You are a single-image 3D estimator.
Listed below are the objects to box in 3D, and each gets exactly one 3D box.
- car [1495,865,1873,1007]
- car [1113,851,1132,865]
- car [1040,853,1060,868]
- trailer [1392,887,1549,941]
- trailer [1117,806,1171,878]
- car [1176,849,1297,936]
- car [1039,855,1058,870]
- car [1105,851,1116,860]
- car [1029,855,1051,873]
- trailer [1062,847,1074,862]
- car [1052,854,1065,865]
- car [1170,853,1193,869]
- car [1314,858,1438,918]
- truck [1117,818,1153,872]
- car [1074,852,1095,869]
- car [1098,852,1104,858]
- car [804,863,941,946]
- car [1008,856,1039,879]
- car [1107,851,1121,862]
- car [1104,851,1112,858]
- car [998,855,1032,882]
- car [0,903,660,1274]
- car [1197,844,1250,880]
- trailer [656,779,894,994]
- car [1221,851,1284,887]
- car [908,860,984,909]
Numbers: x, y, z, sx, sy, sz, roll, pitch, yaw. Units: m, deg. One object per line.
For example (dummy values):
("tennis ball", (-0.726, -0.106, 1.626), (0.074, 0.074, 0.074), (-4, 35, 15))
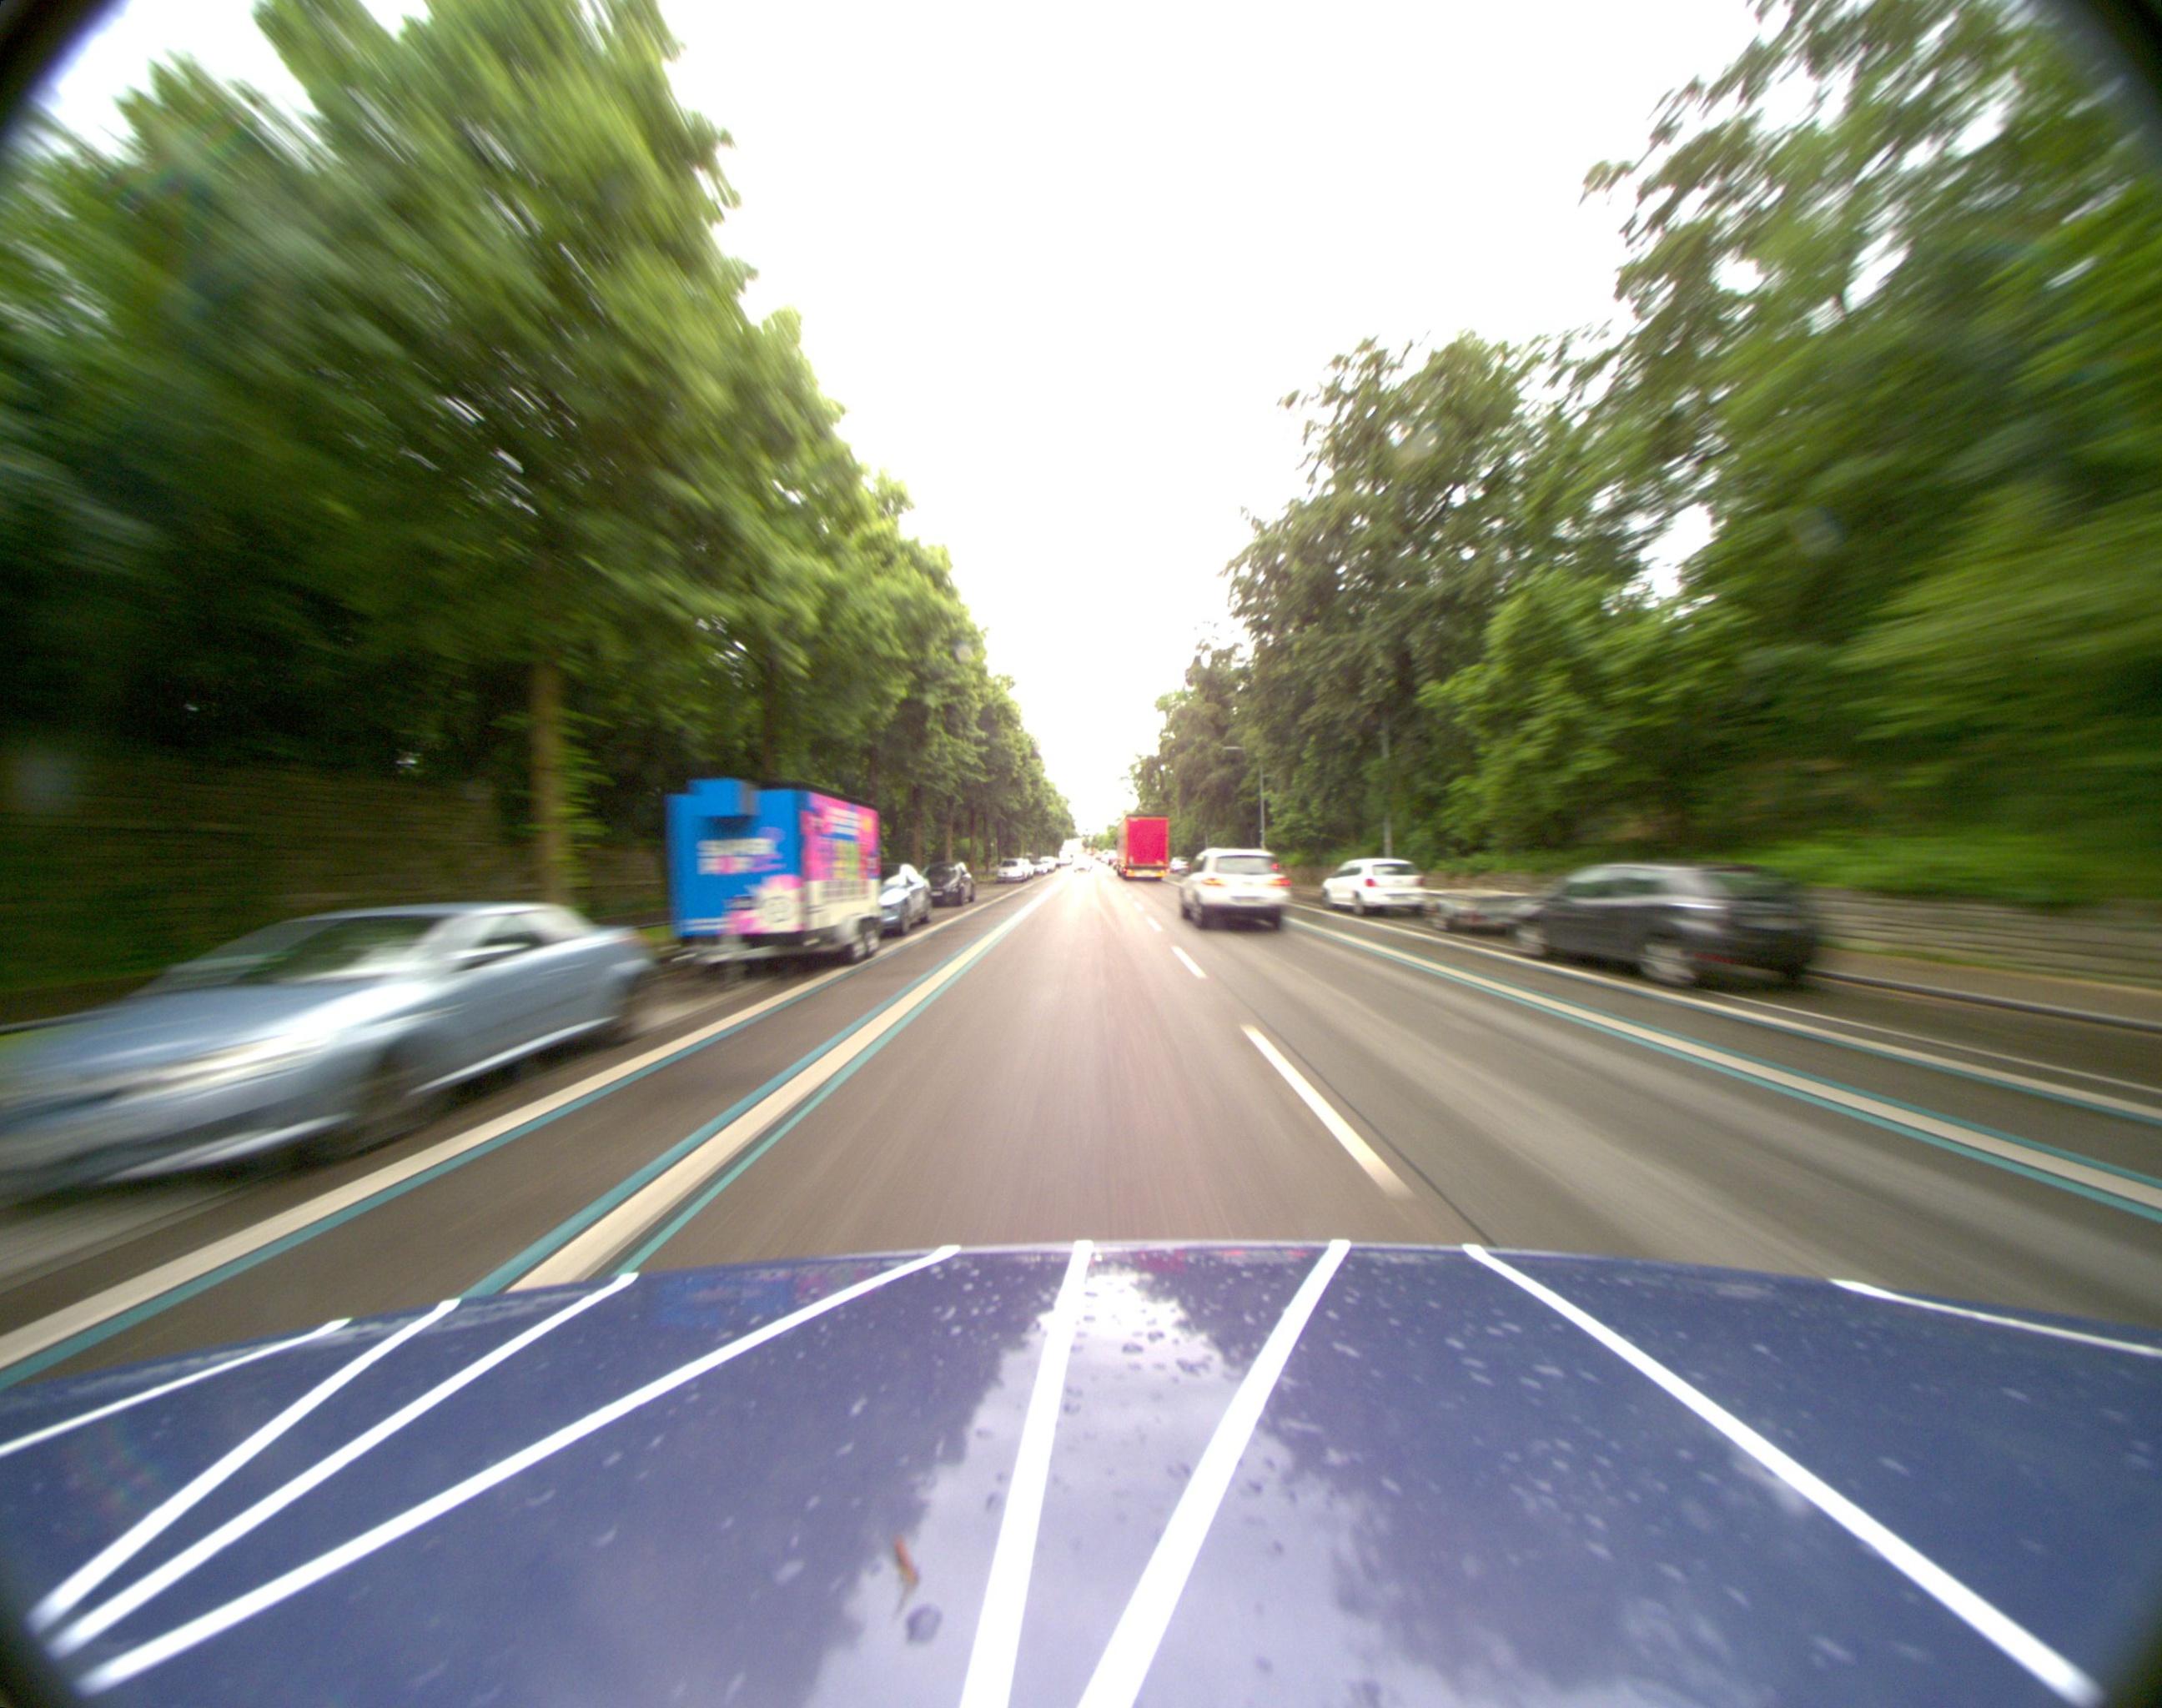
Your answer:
("car", (7.678, 0.917, 10.294), (1.836, 1.468, 4.040), (-1, 0, -2))
("car", (4.667, 0.434, 85.846), (1.920, 1.448, 4.620), (1, 0, 1))
("car", (-3.479, 0.718, 86.152), (1.998, 1.652, 4.562), (-2, 0, 0))
("trailer", (7.903, 1.189, 15.754), (1.547, 0.814, 3.304), (-1, 0, 0))
("trailer", (4.032, -0.744, 51.679), (2.694, 4.234, 12.768), (1, 0, 1))
("car", (3.297, 0.745, 16.923), (1.838, 1.657, 4.180), (1, 0, 1))
("car", (-3.422, 0.898, 79.450), (1.702, 1.445, 3.946), (-3, 0, 1))
("car", (5.263, 0.295, 134.871), (1.780, 1.457, 4.063), (1, 0, 1))
("car", (-3.706, 0.900, 69.135), (1.702, 1.445, 4.097), (-3, 0, 0))
("trailer", (-2.386, 0.074, 134.685), (1.988, 2.550, 3.999), (-2, 0, -2))
("car", (-3.145, 0.734, 105.716), (1.700, 1.468, 3.997), (-1, 0, -1))
("car", (9.402, 0.653, 71.329), (1.694, 1.397, 4.028), (-2, 0, 2))
("car", (7.943, 0.855, 20.850), (1.794, 1.473, 3.982), (-1, 0, -1))
("truck", (4.186, -0.663, 59.425), (2.524, 4.023, 4.916), (1, 1, 1))
("car", (0.359, 0.656, 77.537), (1.998, 1.589, 4.000), (-2, 0, 1))
("car", (6.226, 0.300, 235.615), (2.043, 1.639, 4.477), (-1, 0, 2))
("car", (-4.598, 1.028, 17.535), (1.904, 1.538, 4.754), (-2, 0, -1))
("car", (-4.199, 0.935, 55.977), (1.702, 1.504, 4.470), (-3, 0, 3))
("car", (4.945, 0.432, 114.806), (1.966, 1.608, 4.466), (1, 0, 1))
("car", (6.601, 0.088, 185.181), (1.958, 1.629, 4.445), (0, 0, 1))
("car", (-4.285, 0.911, 49.950), (1.757, 1.587, 4.740), (-2, 0, 1))
("car", (-4.793, 1.179, 5.285), (1.588, 1.345, 3.862), (-3, 0, -1))
("car", (8.668, 0.488, 46.726), (1.979, 1.993, 5.017), (-2, 0, -3))
("trailer", (-4.467, 0.418, 11.878), (1.957, 2.742, 4.007), (-2, 0, 1))
("car", (8.356, 0.705, 37.511), (2.015, 1.596, 4.779), (-1, 0, 0))
("car", (-4.736, 1.024, 27.229), (1.830, 1.494, 4.570), (-1, 0, 1))
